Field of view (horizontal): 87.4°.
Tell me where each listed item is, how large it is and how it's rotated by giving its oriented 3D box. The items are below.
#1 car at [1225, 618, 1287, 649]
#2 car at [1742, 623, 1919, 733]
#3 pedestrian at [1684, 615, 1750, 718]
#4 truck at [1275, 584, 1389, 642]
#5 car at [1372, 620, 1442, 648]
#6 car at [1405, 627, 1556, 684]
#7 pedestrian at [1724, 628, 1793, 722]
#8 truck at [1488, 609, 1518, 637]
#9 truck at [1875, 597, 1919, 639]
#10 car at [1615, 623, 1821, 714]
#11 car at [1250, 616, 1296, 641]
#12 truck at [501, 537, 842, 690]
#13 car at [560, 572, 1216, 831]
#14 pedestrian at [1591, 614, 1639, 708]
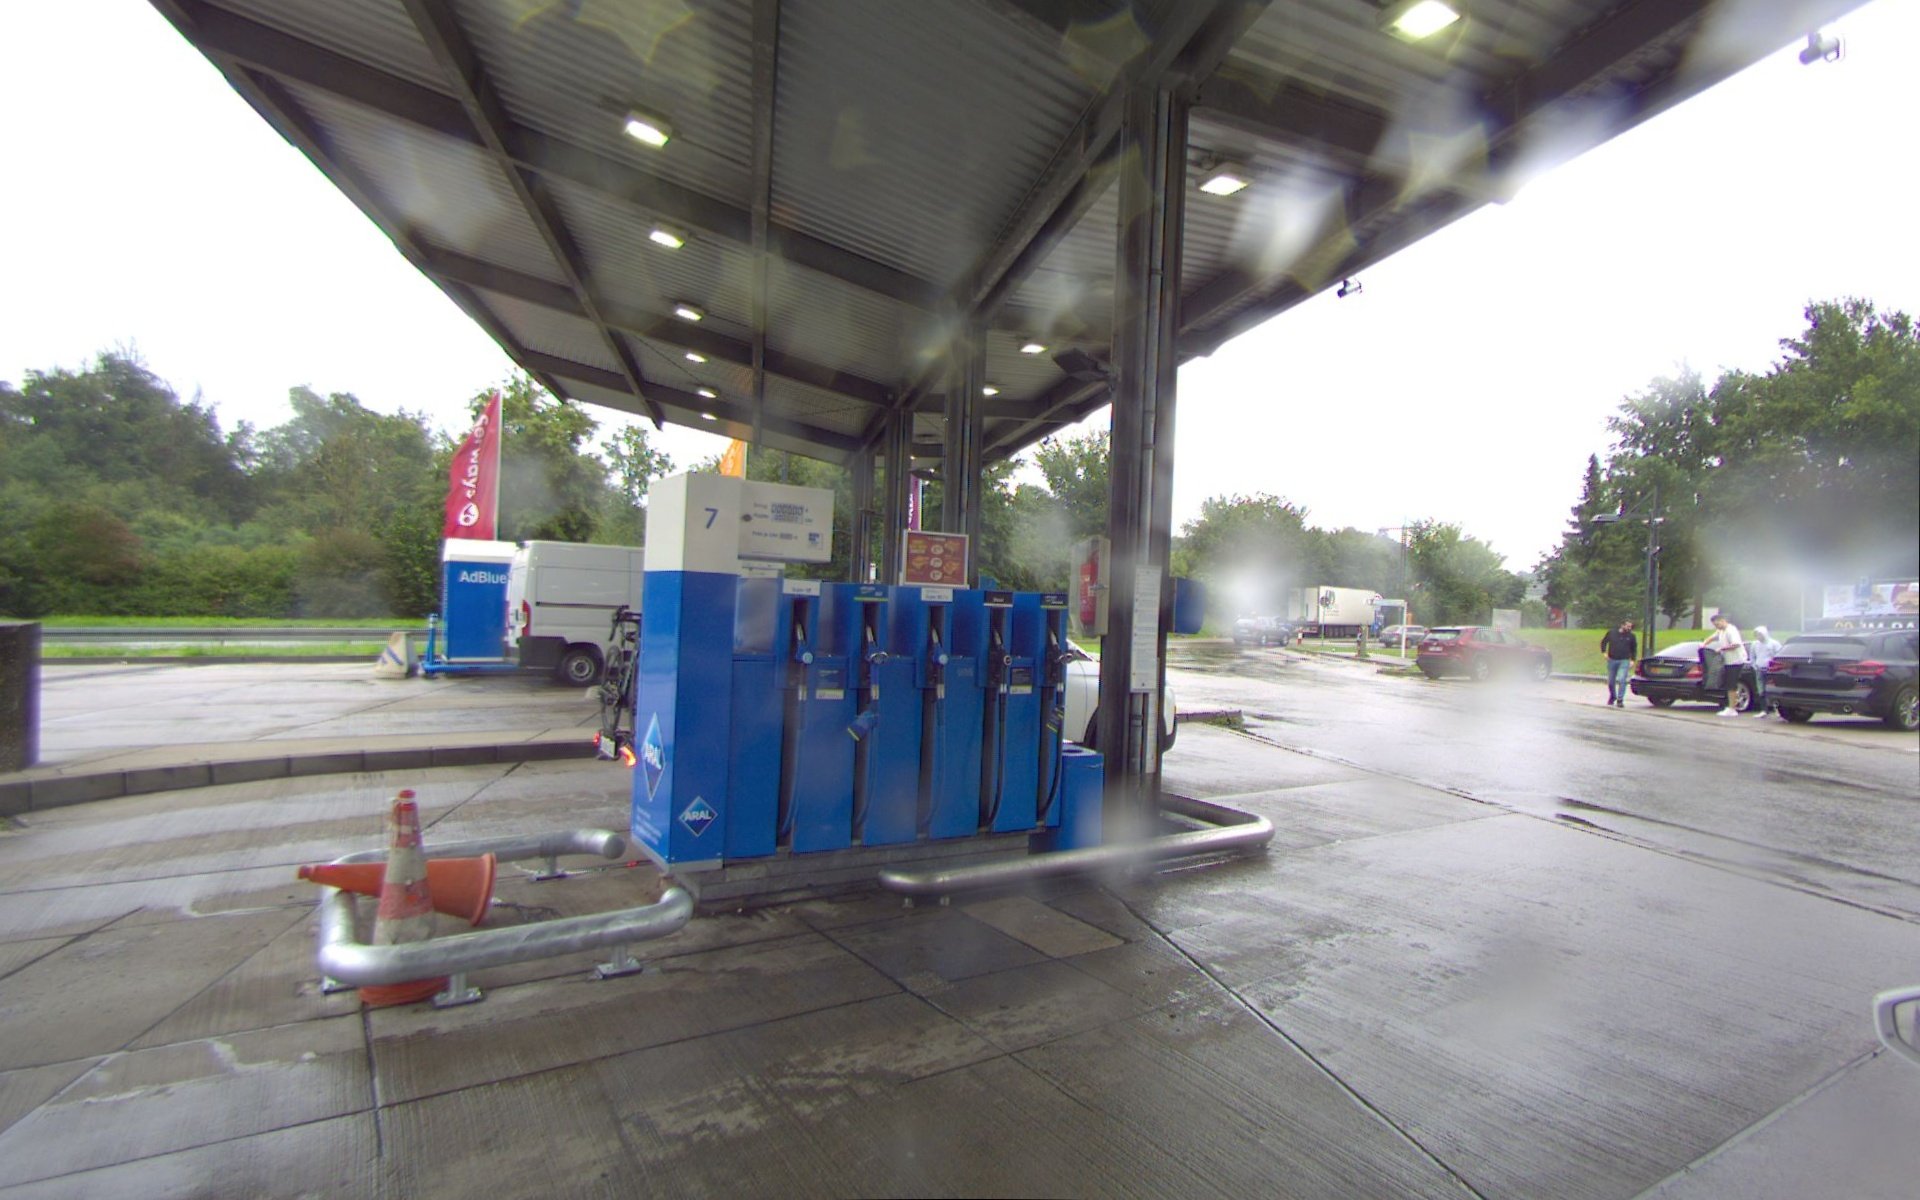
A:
[{"bbox_3d":[17.314,1.961,58.633,1.971,1.700,3.979,1,-1,42],"label":"car"},{"bbox_3d":[16.159,1.272,17.455,4.274,1.734,2.016,1,-1,-18],"label":"car"},{"bbox_3d":[14.584,1.253,19.346,0.944,1.912,0.697,2,0,-33],"label":"pedestrian"},{"bbox_3d":[31.863,1.191,85.140,3.498,4.397,16.922,2,0,40],"label":"truck"},{"bbox_3d":[28.841,2.198,64.848,3.934,1.650,1.772,2,-1,-16],"label":"car"},{"bbox_3d":[16.063,1.672,30.990,4.283,1.666,1.933,1,-2,-25],"label":"car"},{"bbox_3d":[14.770,1.364,18.576,0.943,1.653,0.698,2,0,-32],"label":"pedestrian"},{"bbox_3d":[62.866,2.664,116.234,2.442,3.126,7.338,2,0,32],"label":"truck"},{"bbox_3d":[68.839,1.328,71.690,5.285,2.959,2.191,2,0,-5],"label":"truck"},{"bbox_3d":[15.929,1.358,21.078,4.293,1.734,2.007,1,-2,-31],"label":"car"},{"bbox_3d":[22.888,2.066,73.425,1.787,1.704,3.934,2,0,40],"label":"car"},{"bbox_3d":[-5.351,0.293,18.927,5.793,2.527,2.221,2,0,-30],"label":"truck"},{"bbox_3d":[-0.438,0.701,8.445,5.210,1.629,1.852,2,0,-30],"label":"car"},{"bbox_3d":[13.808,1.256,21.168,0.693,1.912,0.889,2,0,40],"label":"pedestrian"}]
